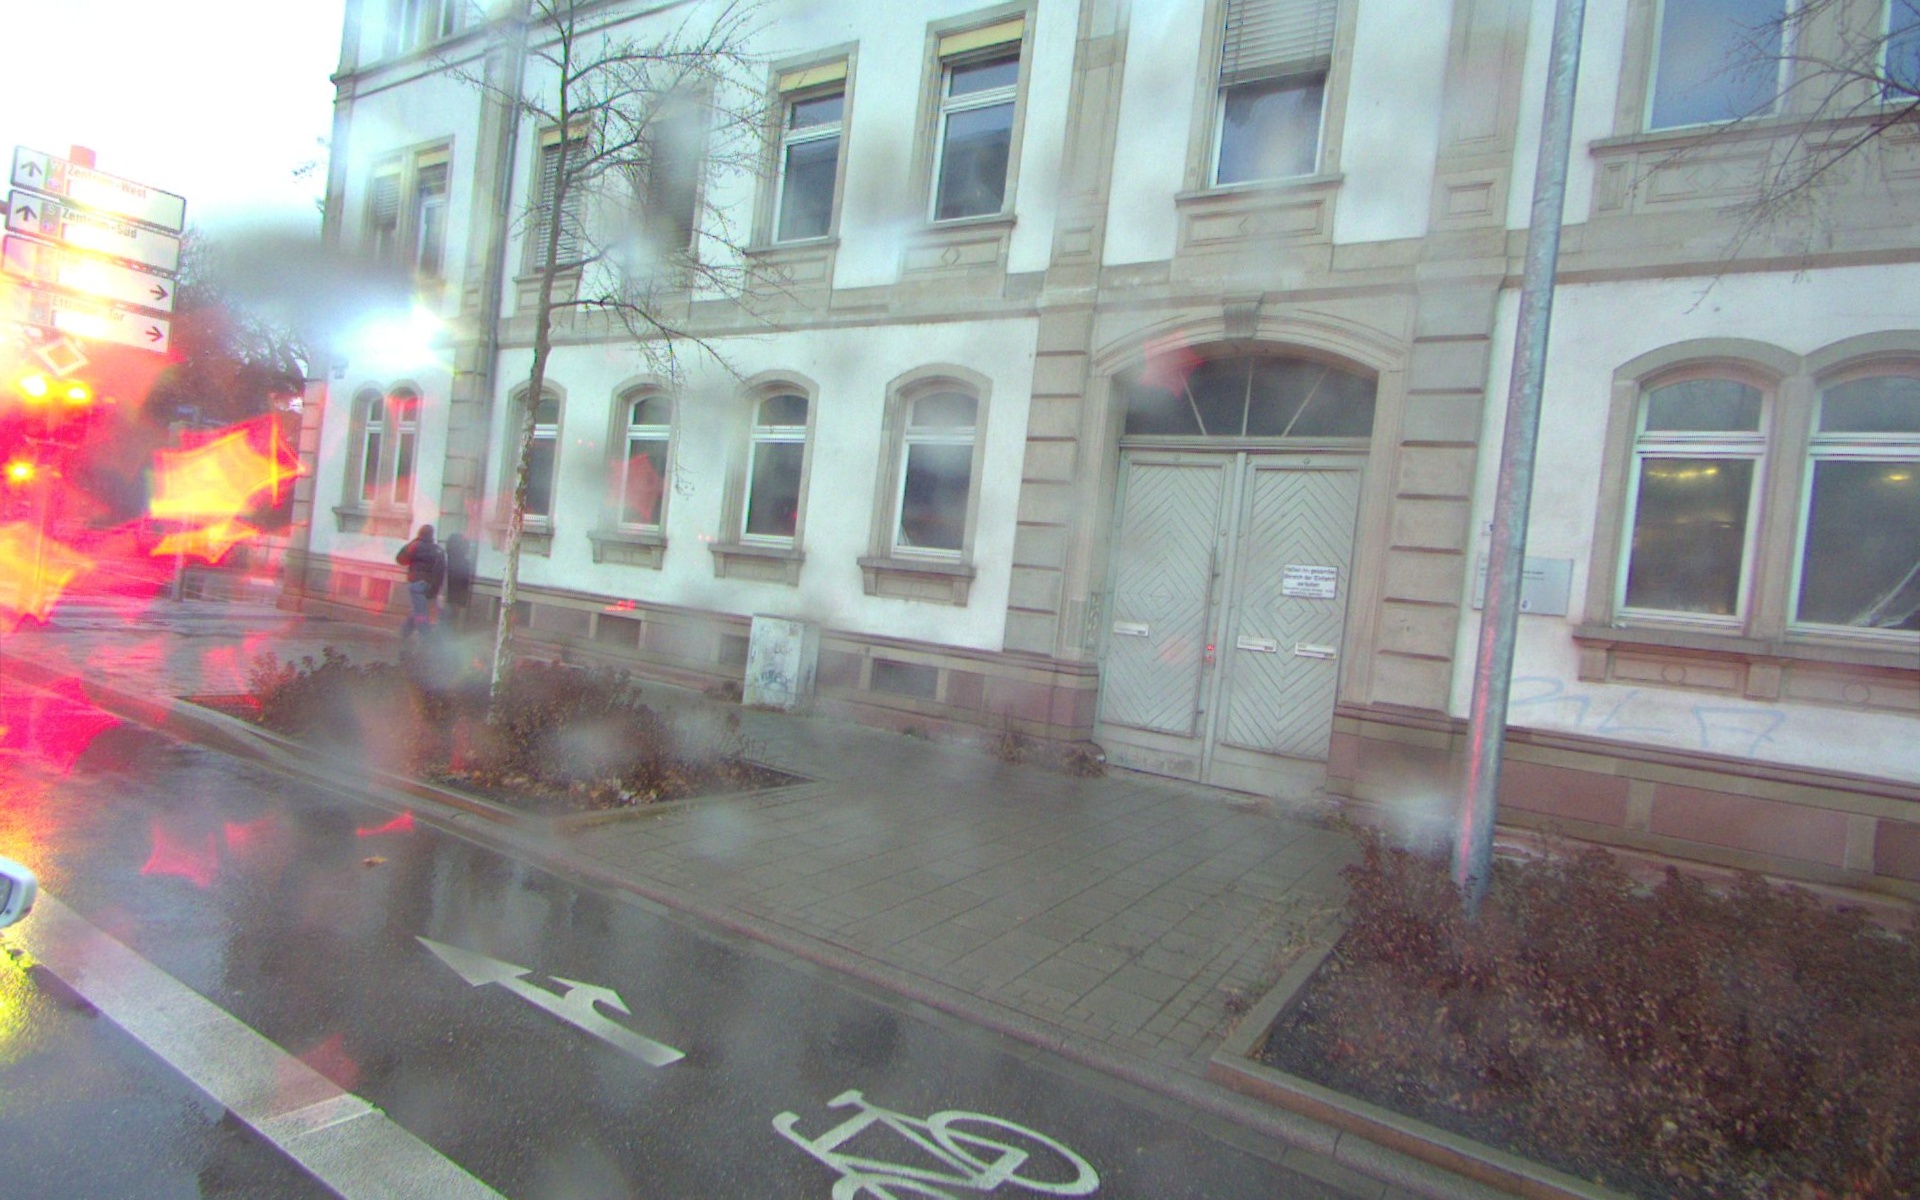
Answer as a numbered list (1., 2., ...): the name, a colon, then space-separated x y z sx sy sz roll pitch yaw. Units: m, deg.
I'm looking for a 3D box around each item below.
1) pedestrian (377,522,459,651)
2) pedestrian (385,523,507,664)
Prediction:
1. pedestrian: -7.574 -0.182 14.104 0.774 1.651 1.005 8 -1 -26
2. pedestrian: -6.392 -0.073 12.515 0.994 1.597 0.783 6 -1 31
